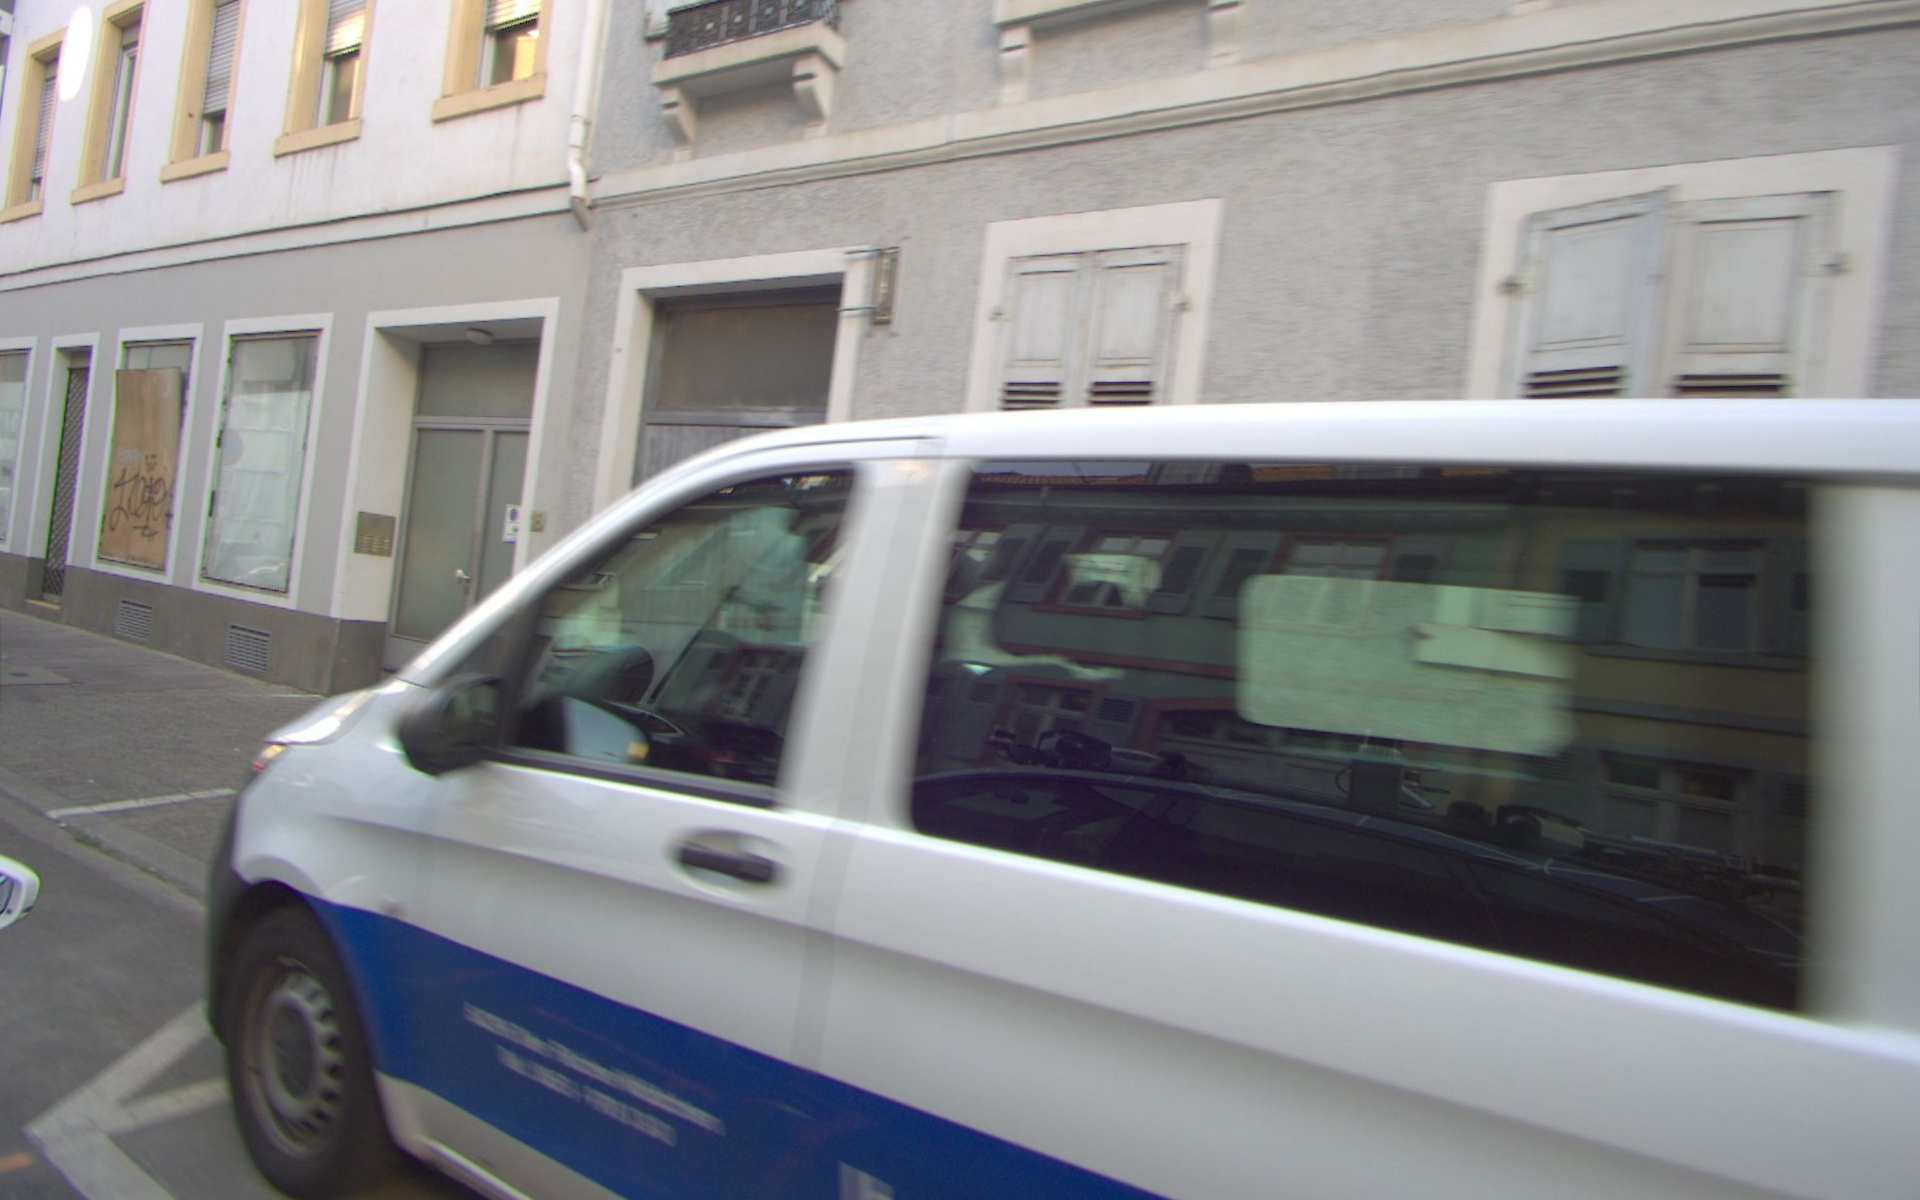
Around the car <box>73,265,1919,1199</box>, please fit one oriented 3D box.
[{"bbox_3d":[0.464,0.628,2.140,5.227,1.920,1.942,6,2,30],"label":"car"}]
